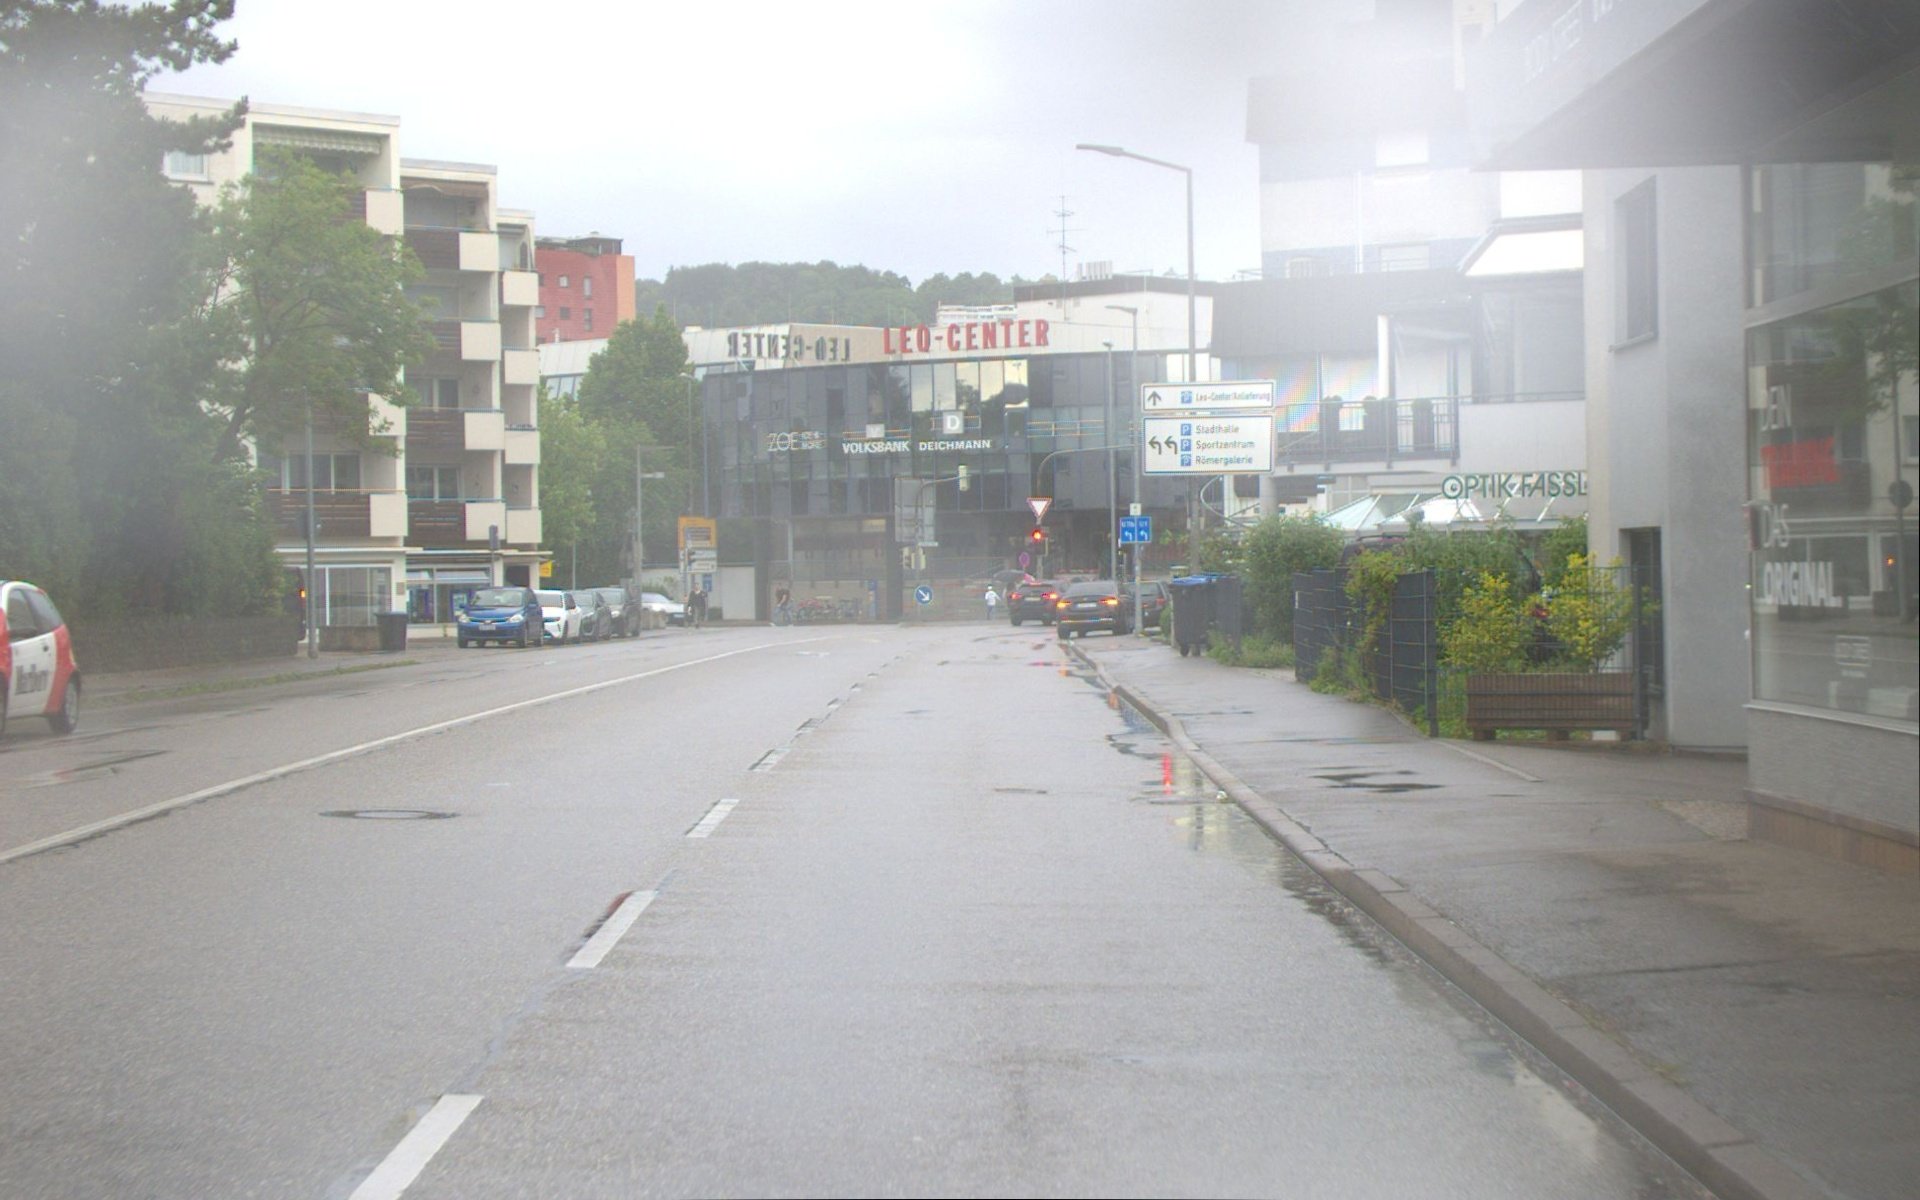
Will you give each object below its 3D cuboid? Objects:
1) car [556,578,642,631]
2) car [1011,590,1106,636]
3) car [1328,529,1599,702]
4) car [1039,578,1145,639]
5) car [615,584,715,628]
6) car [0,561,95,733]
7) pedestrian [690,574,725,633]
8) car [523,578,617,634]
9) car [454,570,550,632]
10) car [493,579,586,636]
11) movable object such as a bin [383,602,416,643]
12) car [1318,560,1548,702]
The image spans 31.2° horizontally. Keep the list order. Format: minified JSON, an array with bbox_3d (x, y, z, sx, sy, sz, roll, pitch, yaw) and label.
[{"bbox_3d":[-10.779,0.124,102.853,1.934,1.536,4.272,0,0,3],"label":"car"},{"bbox_3d":[3.161,0.406,109.458,1.806,1.414,3.996,-1,0,21],"label":"car"},{"bbox_3d":[5.535,0.134,38.398,1.993,1.779,4.691,-1,1,-4],"label":"car"},{"bbox_3d":[3.485,0.236,90.048,1.994,1.528,4.644,0,-1,12],"label":"car"},{"bbox_3d":[-11.928,0.239,138.760,1.994,1.506,4.433,2,2,-35],"label":"car"},{"bbox_3d":[-9.141,0.433,31.059,1.697,1.404,4.001,-3,2,-2],"label":"car"},{"bbox_3d":[-8.793,0.110,119.645,0.749,2.007,0.920,3,0,23],"label":"pedestrian"},{"bbox_3d":[-10.996,0.149,97.189,1.934,1.536,4.520,0,0,3],"label":"car"},{"bbox_3d":[-11.449,0.004,86.166,1.652,1.516,4.324,0,0,3],"label":"car"},{"bbox_3d":[-11.239,0.177,92.058,1.693,1.459,4.683,0,0,3],"label":"car"},{"bbox_3d":[-13.375,0.528,82.018,0.648,0.962,0.682,-1,0,2],"label":"movable object such as a bin"},{"bbox_3d":[7.222,0.430,52.091,1.996,2.007,4.772,-1,1,27],"label":"car"}]
